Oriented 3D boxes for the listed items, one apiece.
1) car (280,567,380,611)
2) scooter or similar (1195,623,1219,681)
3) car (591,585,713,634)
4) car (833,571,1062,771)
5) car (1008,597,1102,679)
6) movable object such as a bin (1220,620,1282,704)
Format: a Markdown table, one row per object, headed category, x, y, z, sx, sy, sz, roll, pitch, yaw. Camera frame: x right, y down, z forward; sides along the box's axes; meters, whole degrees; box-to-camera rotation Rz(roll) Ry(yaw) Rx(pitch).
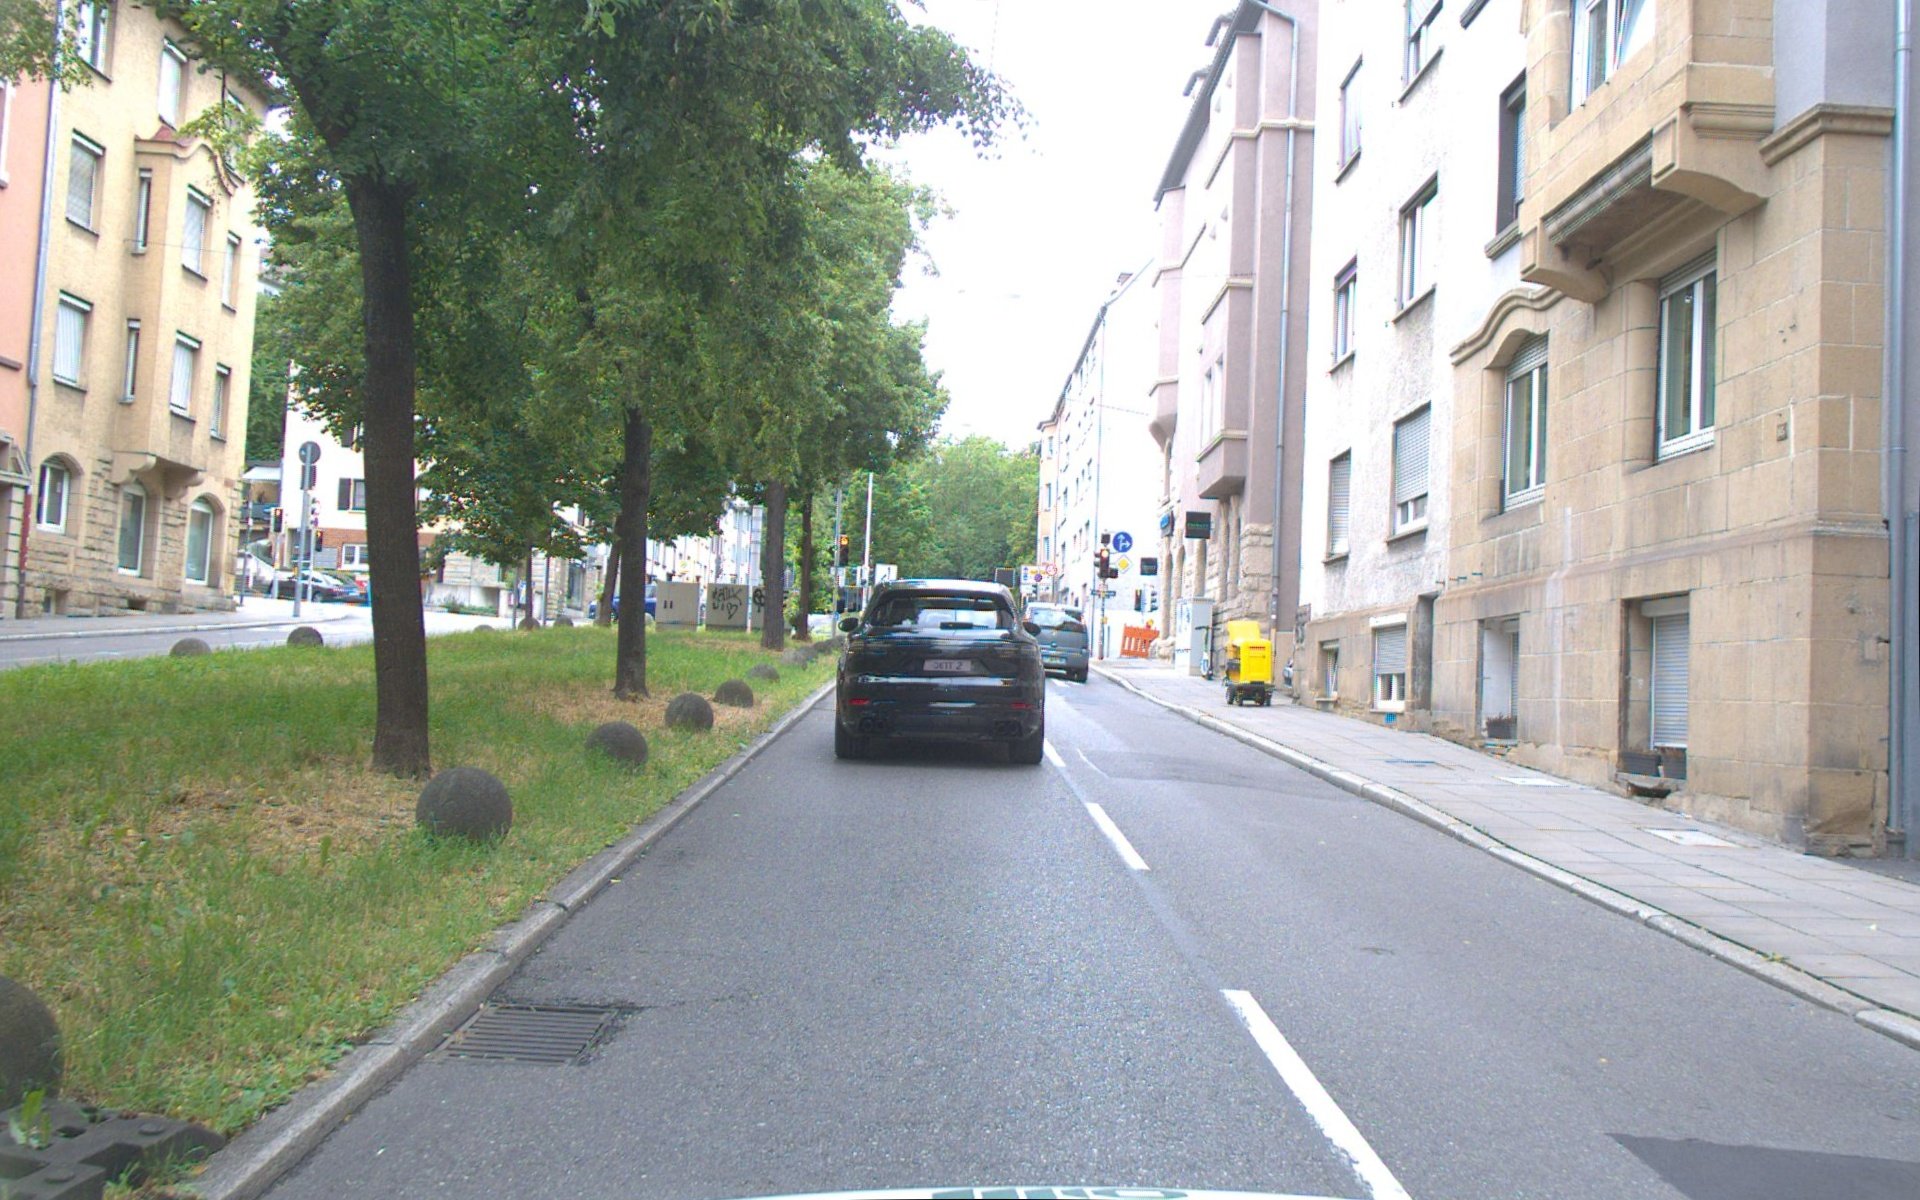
| category | x | y | z | sx | sy | sz | roll | pitch | yaw |
| --- | --- | --- | --- | --- | --- | --- | --- | --- | --- |
| car | -26.189 | -0.452 | 68.733 | 3.916 | 1.694 | 1.877 | 1 | -2 | 33 |
| scooter or similar | 5.523 | 1.147 | 37.027 | 0.392 | 1.209 | 1.355 | 1 | 1 | 3 |
| car | -11.372 | 0.343 | 61.206 | 4.121 | 1.536 | 1.799 | 3 | 0 | -2 |
| car | -0.107 | 0.612 | 16.459 | 1.953 | 1.681 | 4.000 | 2 | 0 | 0 |
| car | 2.103 | 0.820 | 37.327 | 1.717 | 1.620 | 3.629 | 5 | 0 | -1 |
| movable object such as a bin | 5.166 | 1.091 | 29.465 | 0.705 | 1.446 | 1.692 | 2 | -1 | -3 |
